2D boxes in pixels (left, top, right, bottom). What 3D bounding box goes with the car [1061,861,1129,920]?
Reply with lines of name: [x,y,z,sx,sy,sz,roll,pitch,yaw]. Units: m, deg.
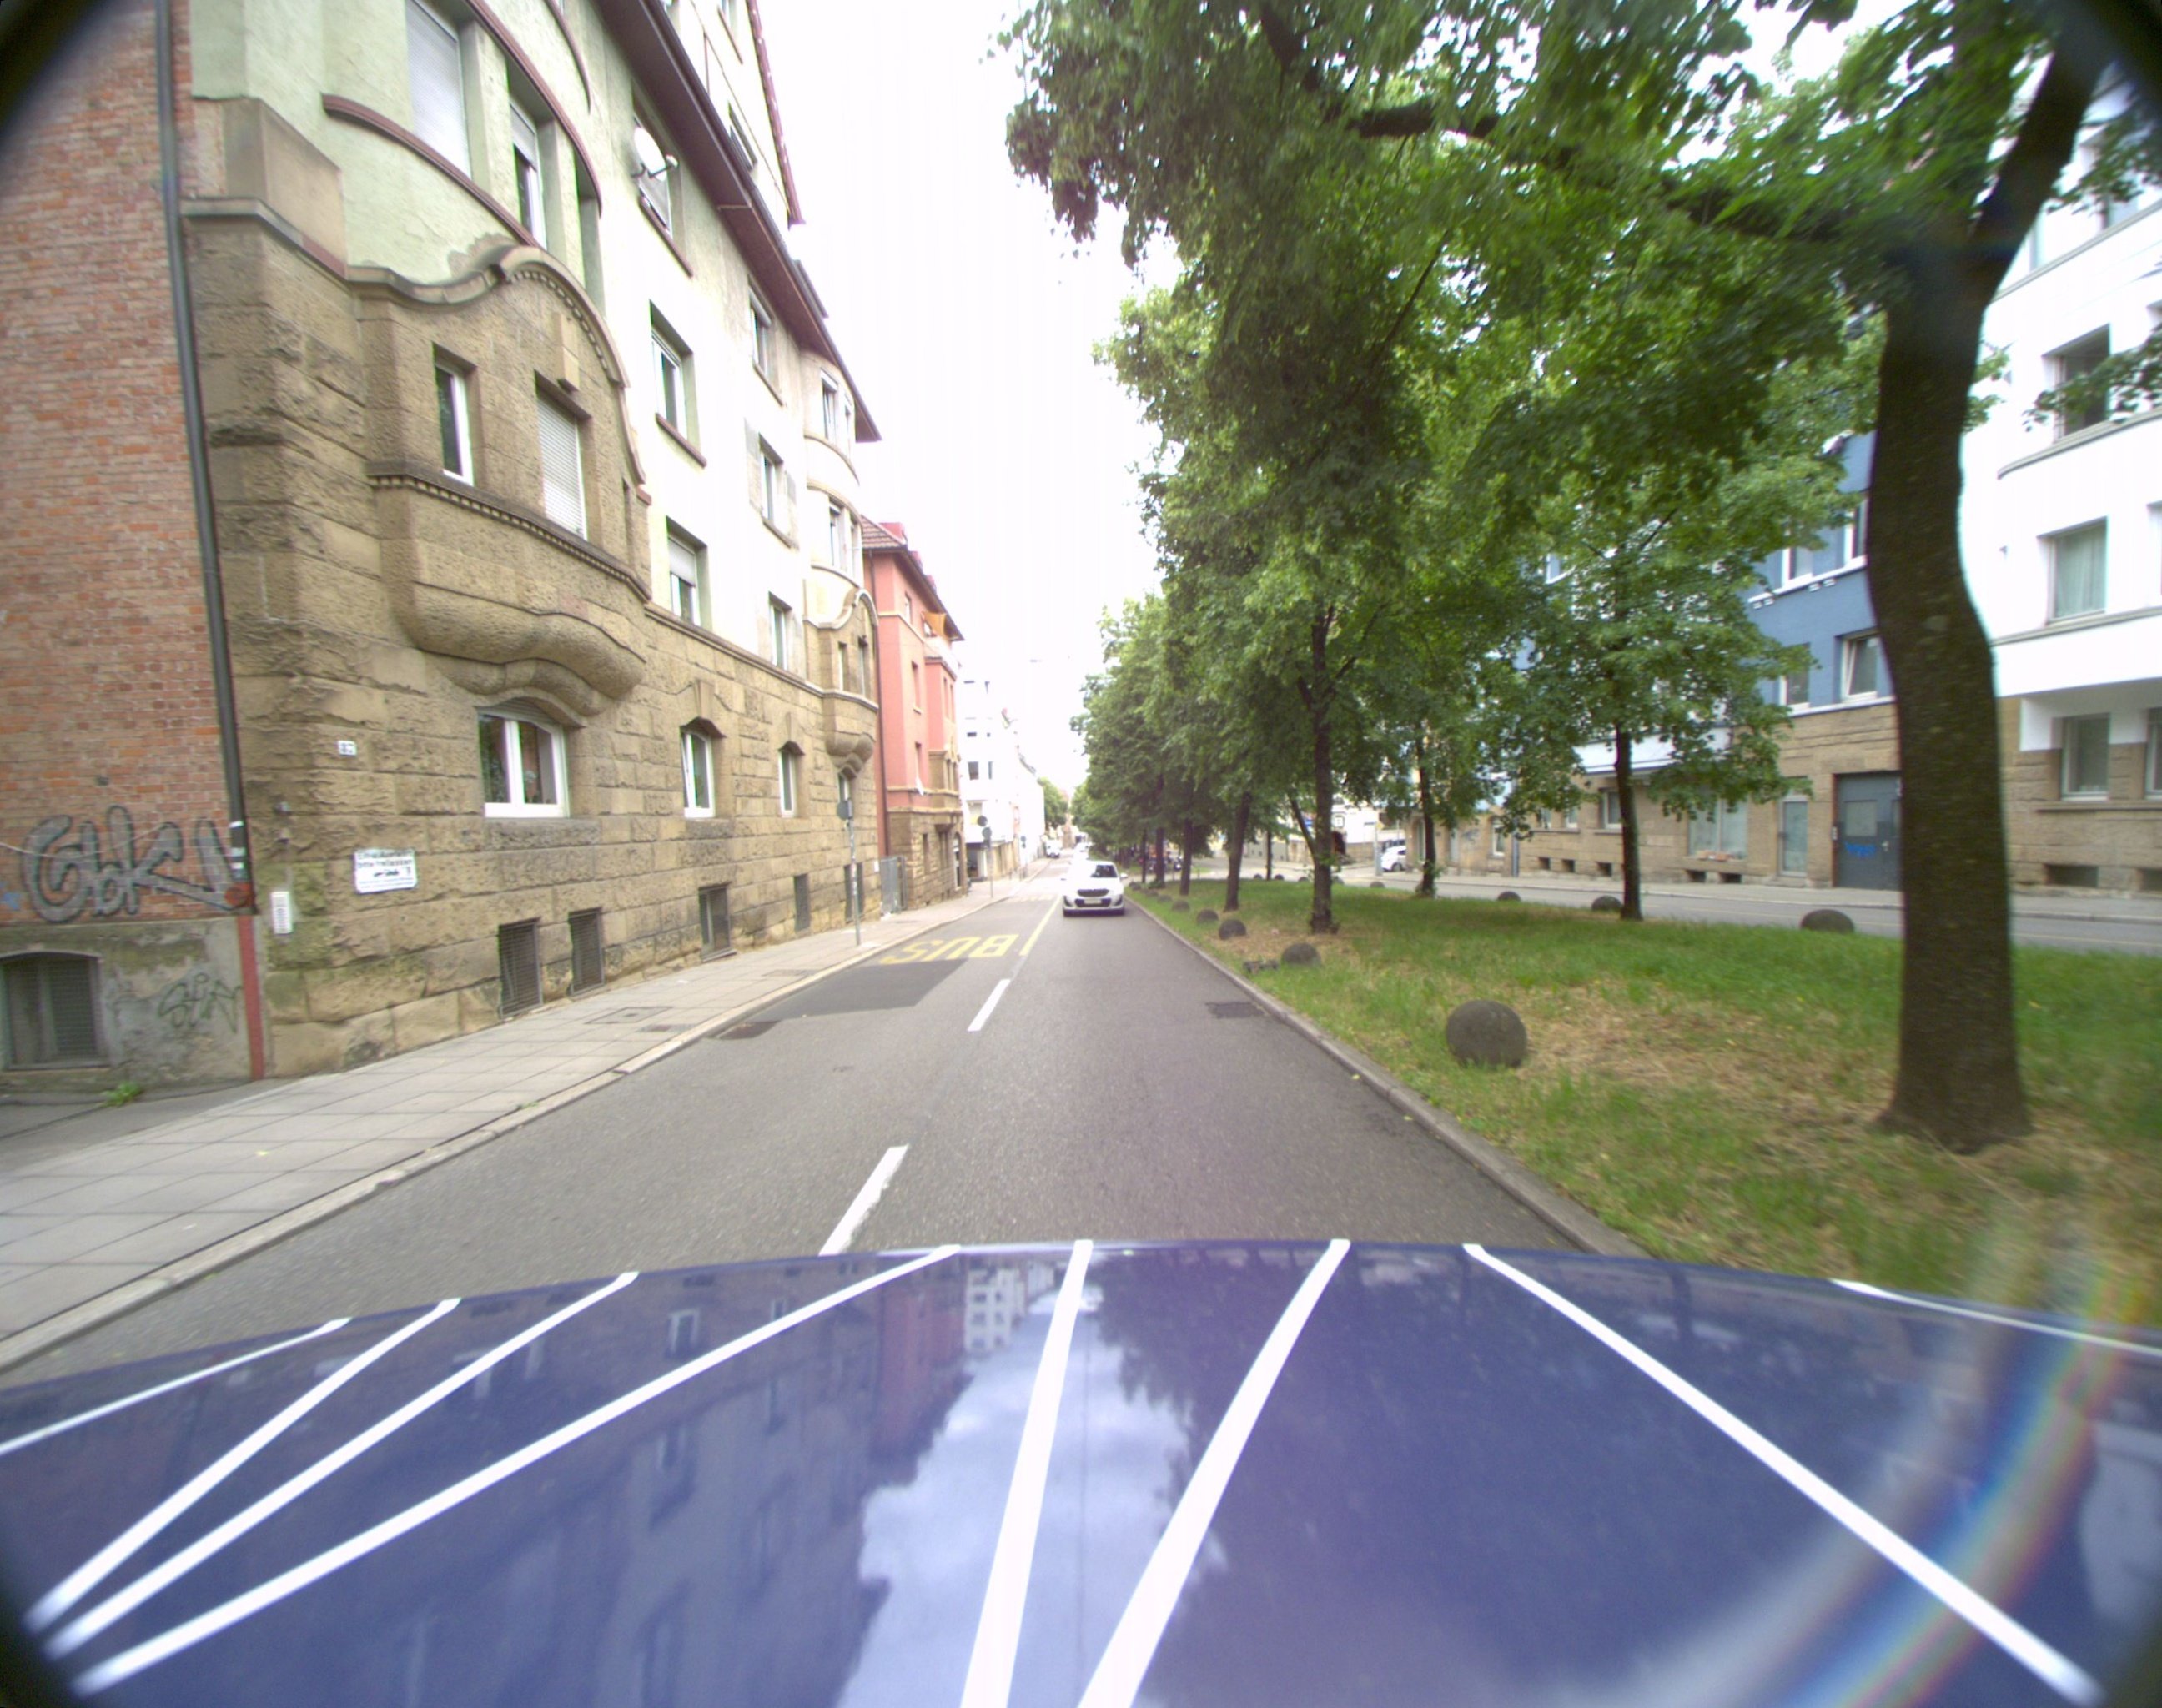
car: [0.433,1.068,23.296,1.854,1.595,4.564,-1,-1,1]

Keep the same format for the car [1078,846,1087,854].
car: [0.293,-0.753,143.672,1.783,1.420,4.281,-1,0,0]

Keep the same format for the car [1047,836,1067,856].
car: [-3.757,-1.309,122.588,3.026,3.045,7.165,-2,2,-1]

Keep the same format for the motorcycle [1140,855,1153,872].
motorcycle: [5.053,0.704,58.702,0.888,1.090,2.481,-3,3,7]

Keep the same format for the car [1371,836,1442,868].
car: [22.523,-0.156,52.701,4.007,1.690,1.871,-7,2,1]

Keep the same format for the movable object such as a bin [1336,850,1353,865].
movable object such as a bin: [19.111,0.247,55.085,0.888,0.988,0.668,-5,1,-1]

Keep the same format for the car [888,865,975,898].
car: [-9.501,1.731,48.762,5.141,1.541,2.237,-5,1,-5]

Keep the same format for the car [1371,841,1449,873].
car: [20.677,0.172,47.831,4.008,1.462,1.870,-7,3,-2]

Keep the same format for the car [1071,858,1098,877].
car: [0.236,1.088,59.776,1.854,1.360,4.281,-3,-1,-3]

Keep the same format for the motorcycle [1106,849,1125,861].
motorcycle: [3.774,0.082,82.831,2.041,1.126,0.454,-3,4,0]

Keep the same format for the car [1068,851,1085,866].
car: [-0.580,0.578,88.044,1.854,1.616,4.281,-3,0,-1]

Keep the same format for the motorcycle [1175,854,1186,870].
motorcycle: [7.659,0.583,58.602,0.750,1.068,1.851,-3,3,7]

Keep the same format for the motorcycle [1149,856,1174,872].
motorcycle: [6.030,0.751,56.950,1.735,1.090,0.551,-3,3,4]

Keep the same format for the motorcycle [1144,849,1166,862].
motorcycle: [8.366,0.162,86.121,2.424,1.475,0.963,-1,4,0]

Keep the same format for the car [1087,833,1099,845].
car: [3.415,-4.286,212.814,3.026,3.045,7.165,-2,2,-1]
